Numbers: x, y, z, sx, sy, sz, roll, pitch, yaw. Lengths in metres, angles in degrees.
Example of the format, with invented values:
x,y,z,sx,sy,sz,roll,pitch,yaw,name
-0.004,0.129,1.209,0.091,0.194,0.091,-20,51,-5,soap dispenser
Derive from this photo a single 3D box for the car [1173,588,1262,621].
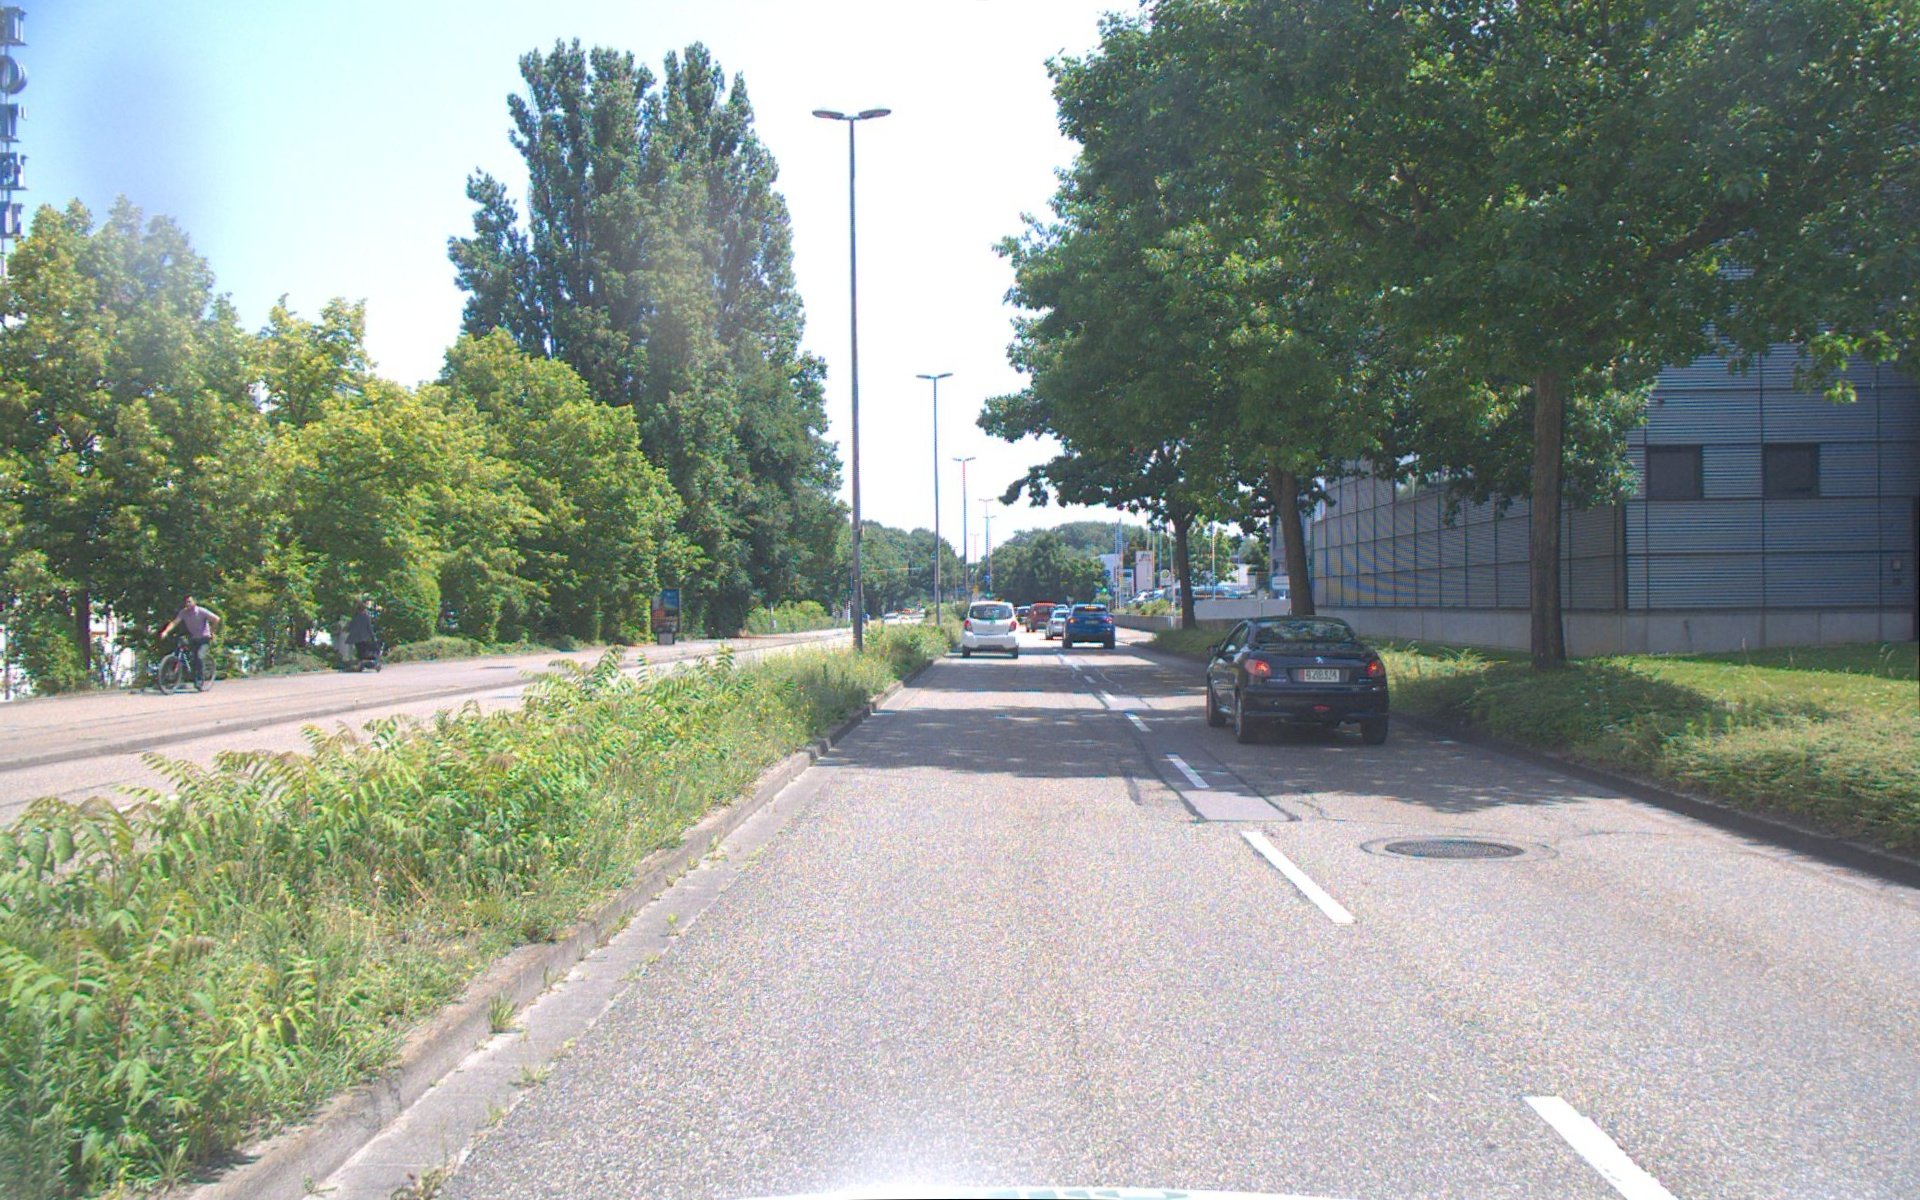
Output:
x,y,z,sx,sy,sz,roll,pitch,yaw,name
13.625,0.241,87.637,4.406,1.610,2.000,-2,-1,1,car

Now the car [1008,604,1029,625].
x,y,z,sx,sy,sz,roll,pitch,yaw,name
5.080,1.274,144.849,1.760,1.720,4.000,-2,-1,1,car

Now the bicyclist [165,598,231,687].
x,y,z,sx,sy,sz,roll,pitch,yaw,name
-13.600,0.756,29.542,0.703,1.542,1.026,-1,-1,-2,bicyclist

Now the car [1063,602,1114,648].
x,y,z,sx,sy,sz,roll,pitch,yaw,name
4.725,0.910,60.886,1.789,1.608,3.607,-1,-1,4,car

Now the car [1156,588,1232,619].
x,y,z,sx,sy,sz,roll,pitch,yaw,name
13.616,0.211,96.381,4.140,1.676,2.000,-2,-1,1,car

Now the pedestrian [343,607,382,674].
x,y,z,sx,sy,sz,roll,pitch,yaw,name
-14.175,0.957,39.217,0.619,1.572,0.727,-1,-1,1,pedestrian

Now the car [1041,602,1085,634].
x,y,z,sx,sy,sz,roll,pitch,yaw,name
4.934,0.880,79.757,1.952,1.467,4.000,-1,-1,1,car

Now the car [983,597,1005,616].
x,y,z,sx,sy,sz,roll,pitch,yaw,name
3.255,0.625,158.445,1.783,1.691,3.998,-1,1,-2,car

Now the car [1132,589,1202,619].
x,y,z,sx,sy,sz,roll,pitch,yaw,name
12.920,0.264,103.318,4.140,1.676,2.000,-2,-1,1,car

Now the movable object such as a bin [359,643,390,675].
x,y,z,sx,sy,sz,roll,pitch,yaw,name
-13.710,1.369,38.729,0.419,0.718,0.653,-2,-1,10,movable object such as a bin

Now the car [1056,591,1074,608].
x,y,z,sx,sy,sz,roll,pitch,yaw,name
12.609,-0.077,198.131,1.734,2.049,3.989,-1,0,-2,car

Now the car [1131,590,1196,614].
x,y,z,sx,sy,sz,roll,pitch,yaw,name
14.525,0.177,118.265,4.441,1.572,2.000,-2,-1,1,car

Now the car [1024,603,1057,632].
x,y,z,sx,sy,sz,roll,pitch,yaw,name
5.046,1.105,104.113,1.740,1.771,3.999,-1,-1,-1,car

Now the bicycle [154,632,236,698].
x,y,z,sx,sy,sz,roll,pitch,yaw,name
-13.626,1.141,29.506,0.539,1.092,2.062,0,0,-1,bicycle

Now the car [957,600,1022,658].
x,y,z,sx,sy,sz,roll,pitch,yaw,name
0.864,0.781,46.724,1.712,1.546,3.747,0,0,3,car

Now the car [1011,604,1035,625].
x,y,z,sx,sy,sz,roll,pitch,yaw,name
5.132,1.183,134.934,1.782,1.691,4.000,-1,0,1,car

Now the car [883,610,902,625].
x,y,z,sx,sy,sz,roll,pitch,yaw,name
-6.882,1.751,168.193,1.700,1.438,4.371,-1,-1,0,car

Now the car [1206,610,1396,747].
x,y,z,sx,sy,sz,roll,pitch,yaw,name
3.868,0.841,19.266,1.593,1.388,3.606,1,0,2,car
